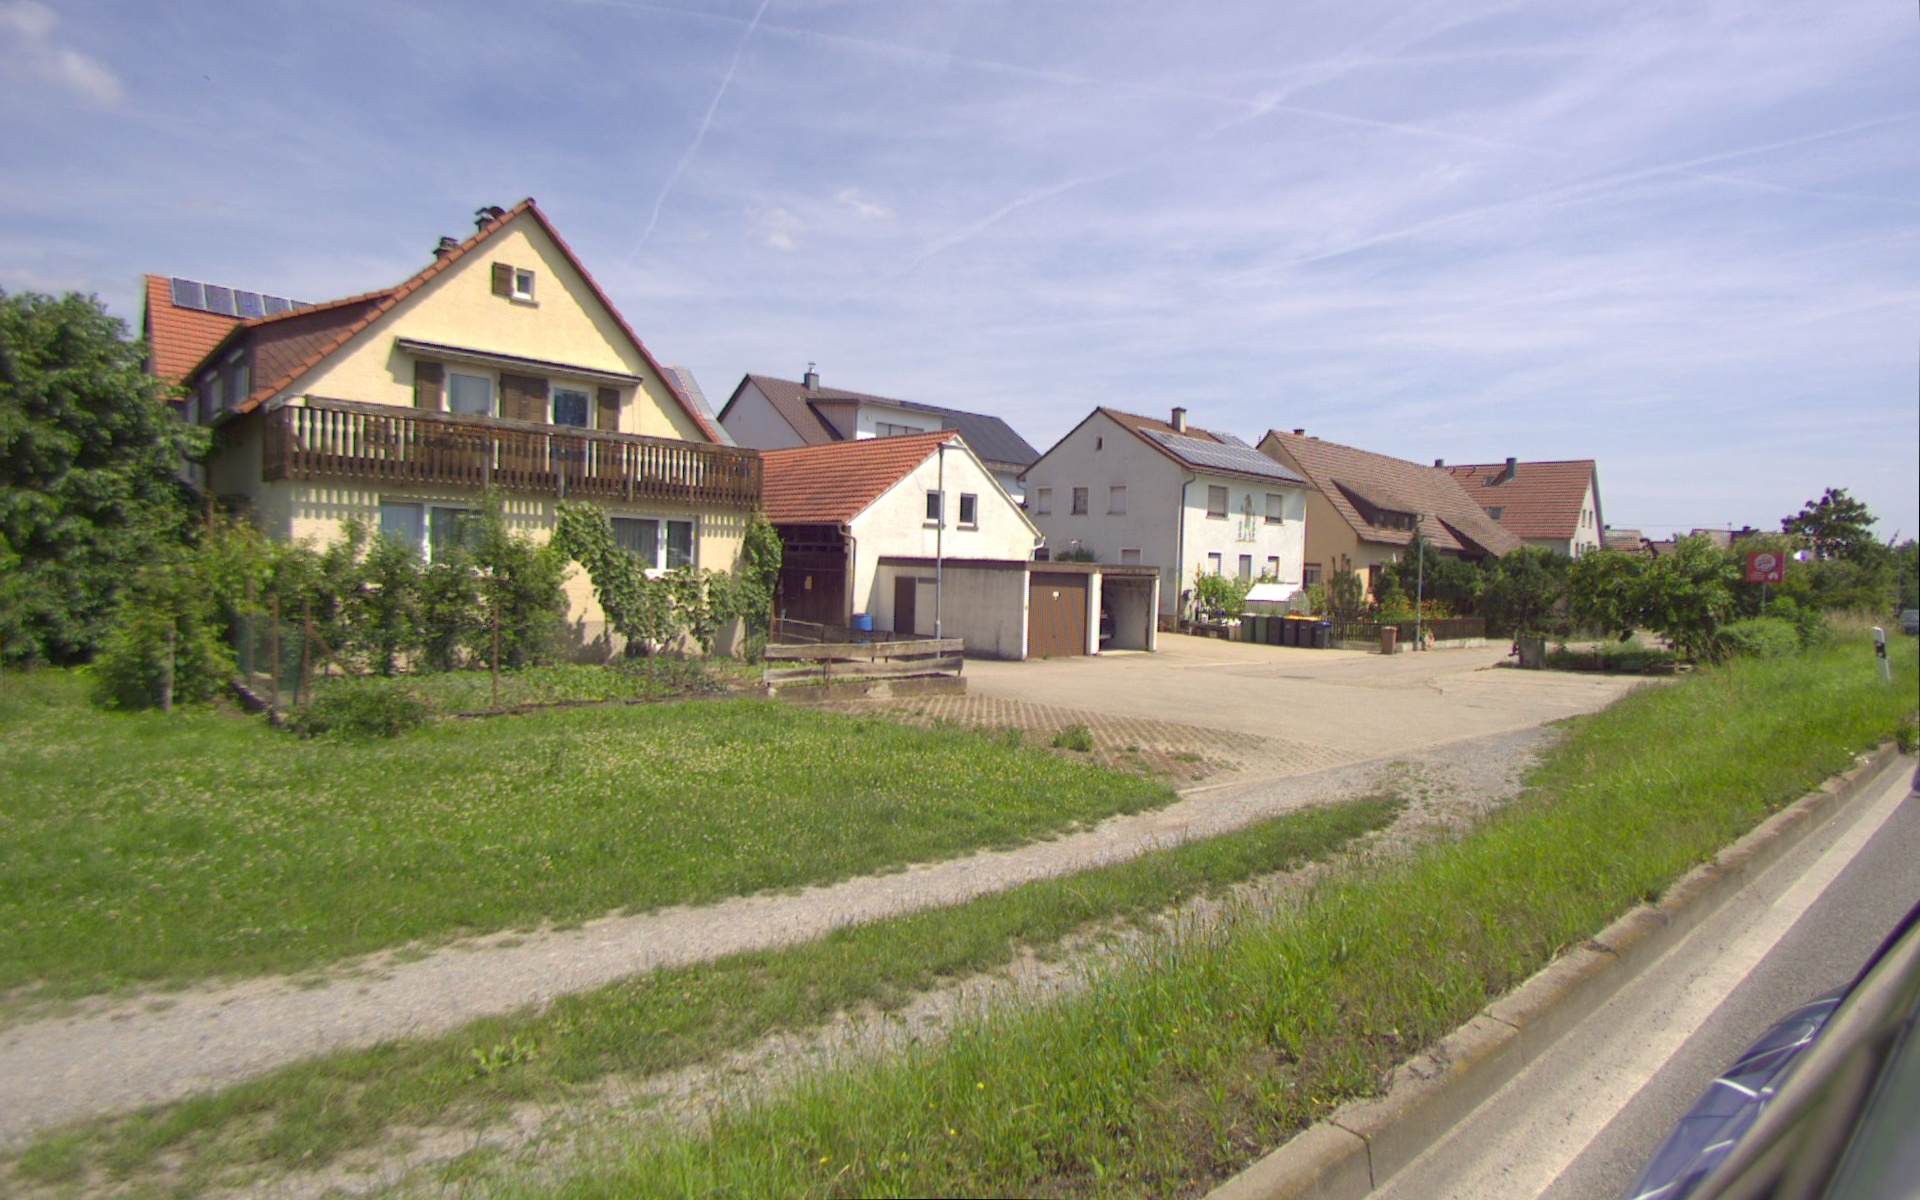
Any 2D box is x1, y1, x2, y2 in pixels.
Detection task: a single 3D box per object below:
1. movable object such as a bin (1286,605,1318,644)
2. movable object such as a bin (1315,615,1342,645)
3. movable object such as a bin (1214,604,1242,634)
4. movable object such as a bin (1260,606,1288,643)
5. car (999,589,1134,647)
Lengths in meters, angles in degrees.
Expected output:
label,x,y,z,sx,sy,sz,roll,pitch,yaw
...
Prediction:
label,x,y,z,sx,sy,sz,roll,pitch,yaw
movable object such as a bin,12.530,0.883,37.053,0.930,1.387,0.764,1,0,-42
movable object such as a bin,13.248,1.060,36.351,0.743,1.040,0.645,1,0,-42
movable object such as a bin,10.463,0.736,39.490,0.816,1.171,0.739,1,0,-42
movable object such as a bin,11.876,0.910,38.267,0.806,1.355,0.677,1,0,-42
car,3.193,0.500,30.953,1.794,1.624,3.995,1,1,-40
